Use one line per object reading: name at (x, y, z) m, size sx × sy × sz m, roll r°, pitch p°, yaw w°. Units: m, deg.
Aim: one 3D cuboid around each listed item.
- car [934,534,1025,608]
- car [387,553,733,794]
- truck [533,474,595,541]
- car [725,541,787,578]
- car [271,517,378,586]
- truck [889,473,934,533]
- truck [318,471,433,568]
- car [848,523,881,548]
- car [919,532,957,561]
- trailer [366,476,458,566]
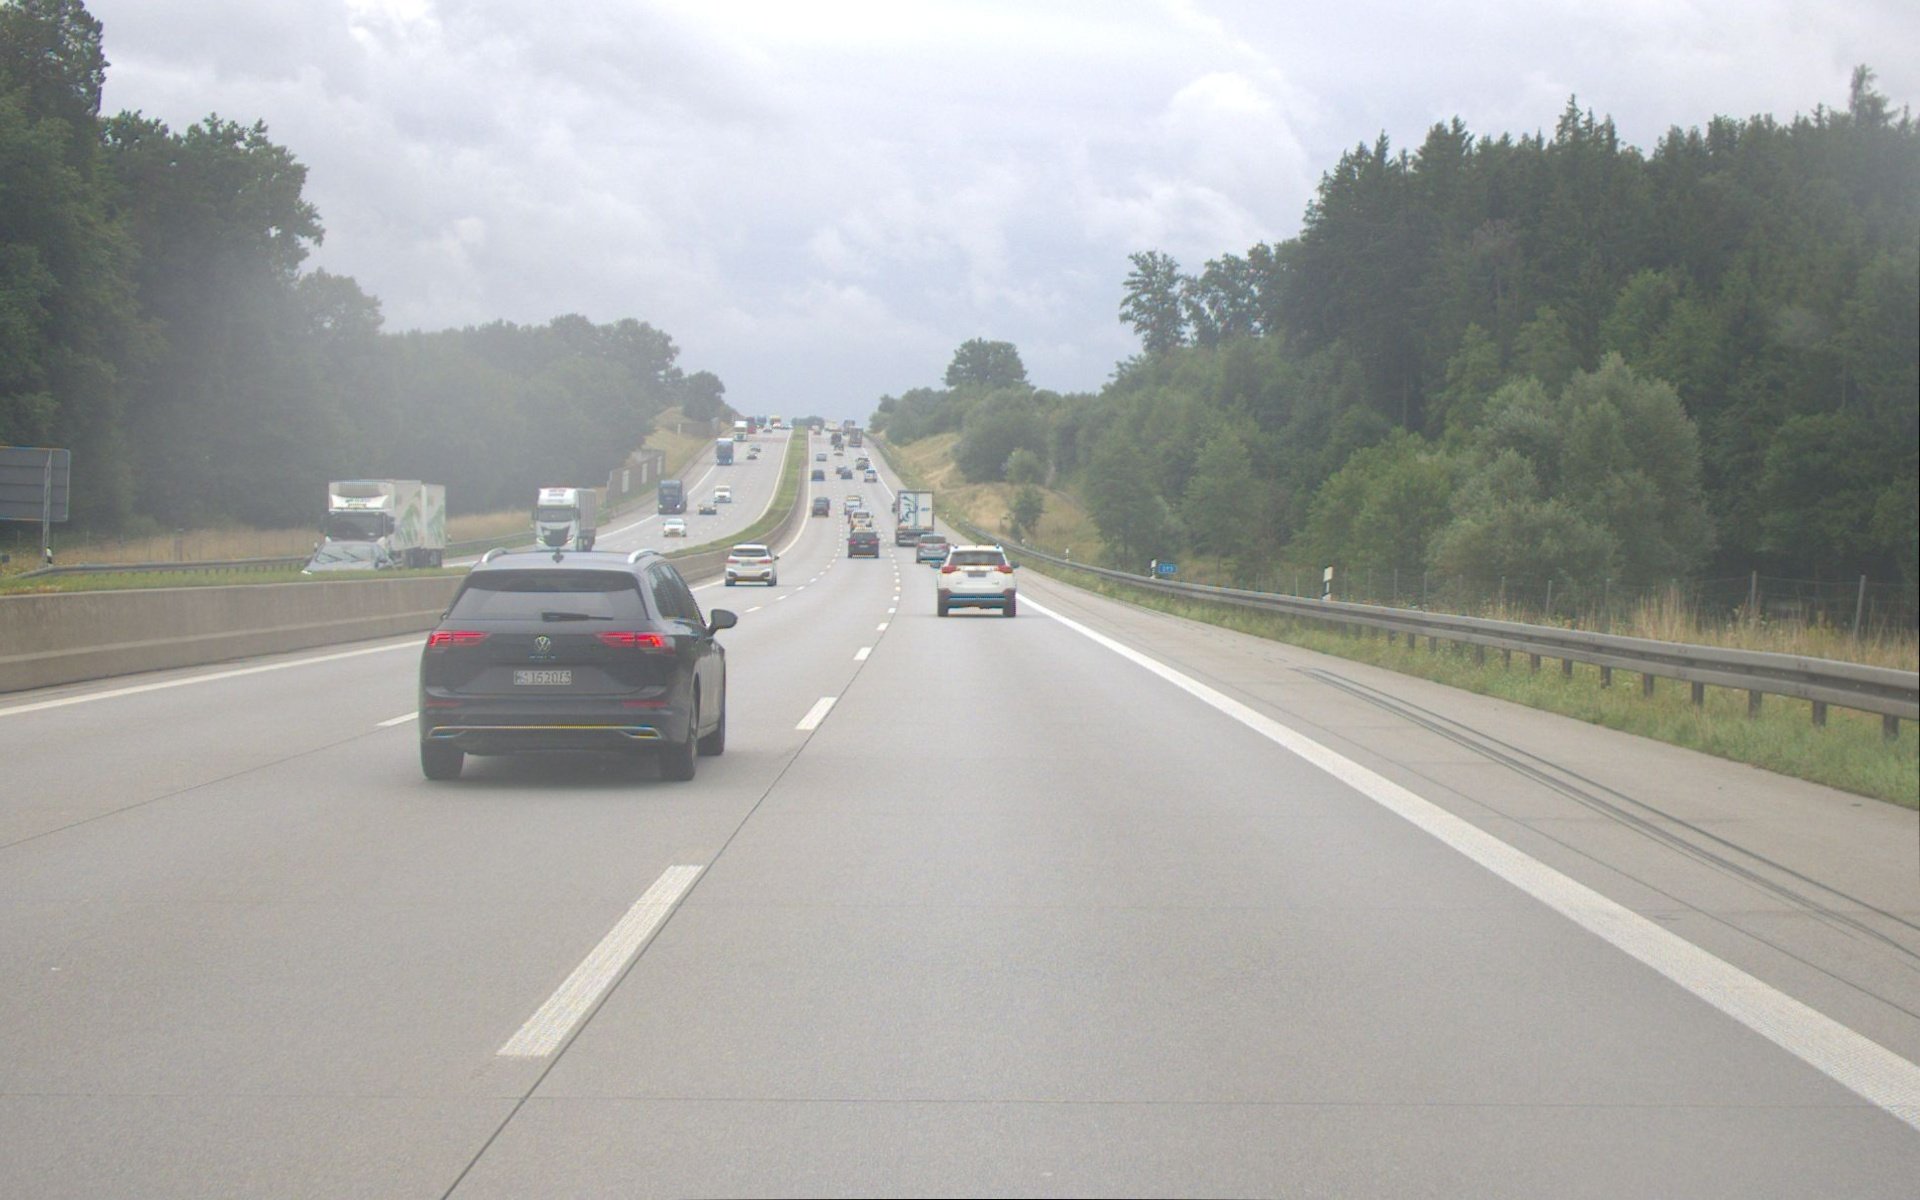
car at (0.433, -0.703, 80.014) m, size 1.825 × 1.650 × 3.986 m, roll 1°, pitch 1°, yaw -4°
car at (-2.544, 0.410, 22.821) m, size 1.752 × 1.393 × 4.484 m, roll 1°, pitch 1°, yaw 0°
truck at (-24.760, -5.784, 215.122) m, size 3.212 × 4.043 × 7.167 m, roll 1°, pitch 1°, yaw -2°
car at (-7.619, -1.522, 128.632) m, size 1.947 × 1.351 × 4.259 m, roll 1°, pitch 1°, yaw 1°
car at (-15.331, -1.180, 83.119) m, size 1.885 × 1.582 × 4.000 m, roll 1°, pitch 1°, yaw -1°
truck at (-3.544, -7.107, 250.288) m, size 3.017 × 4.165 × 8.356 m, roll 1°, pitch 3°, yaw -3°
truck at (-23.793, -3.264, 140.545) m, size 2.813 × 3.760 × 11.352 m, roll 1°, pitch 1°, yaw -1°
car at (-5.795, -3.915, 208.362) m, size 1.935 × 1.370 × 4.595 m, roll 1°, pitch 2°, yaw -1°
car at (-1.239, -3.004, 191.998) m, size 1.993 × 1.525 × 4.000 m, roll 3°, pitch 1°, yaw -1°
trailer at (-23.885, -3.458, 150.147) m, size 2.818 × 3.770 × 7.716 m, roll 1°, pitch 1°, yaw -1°
